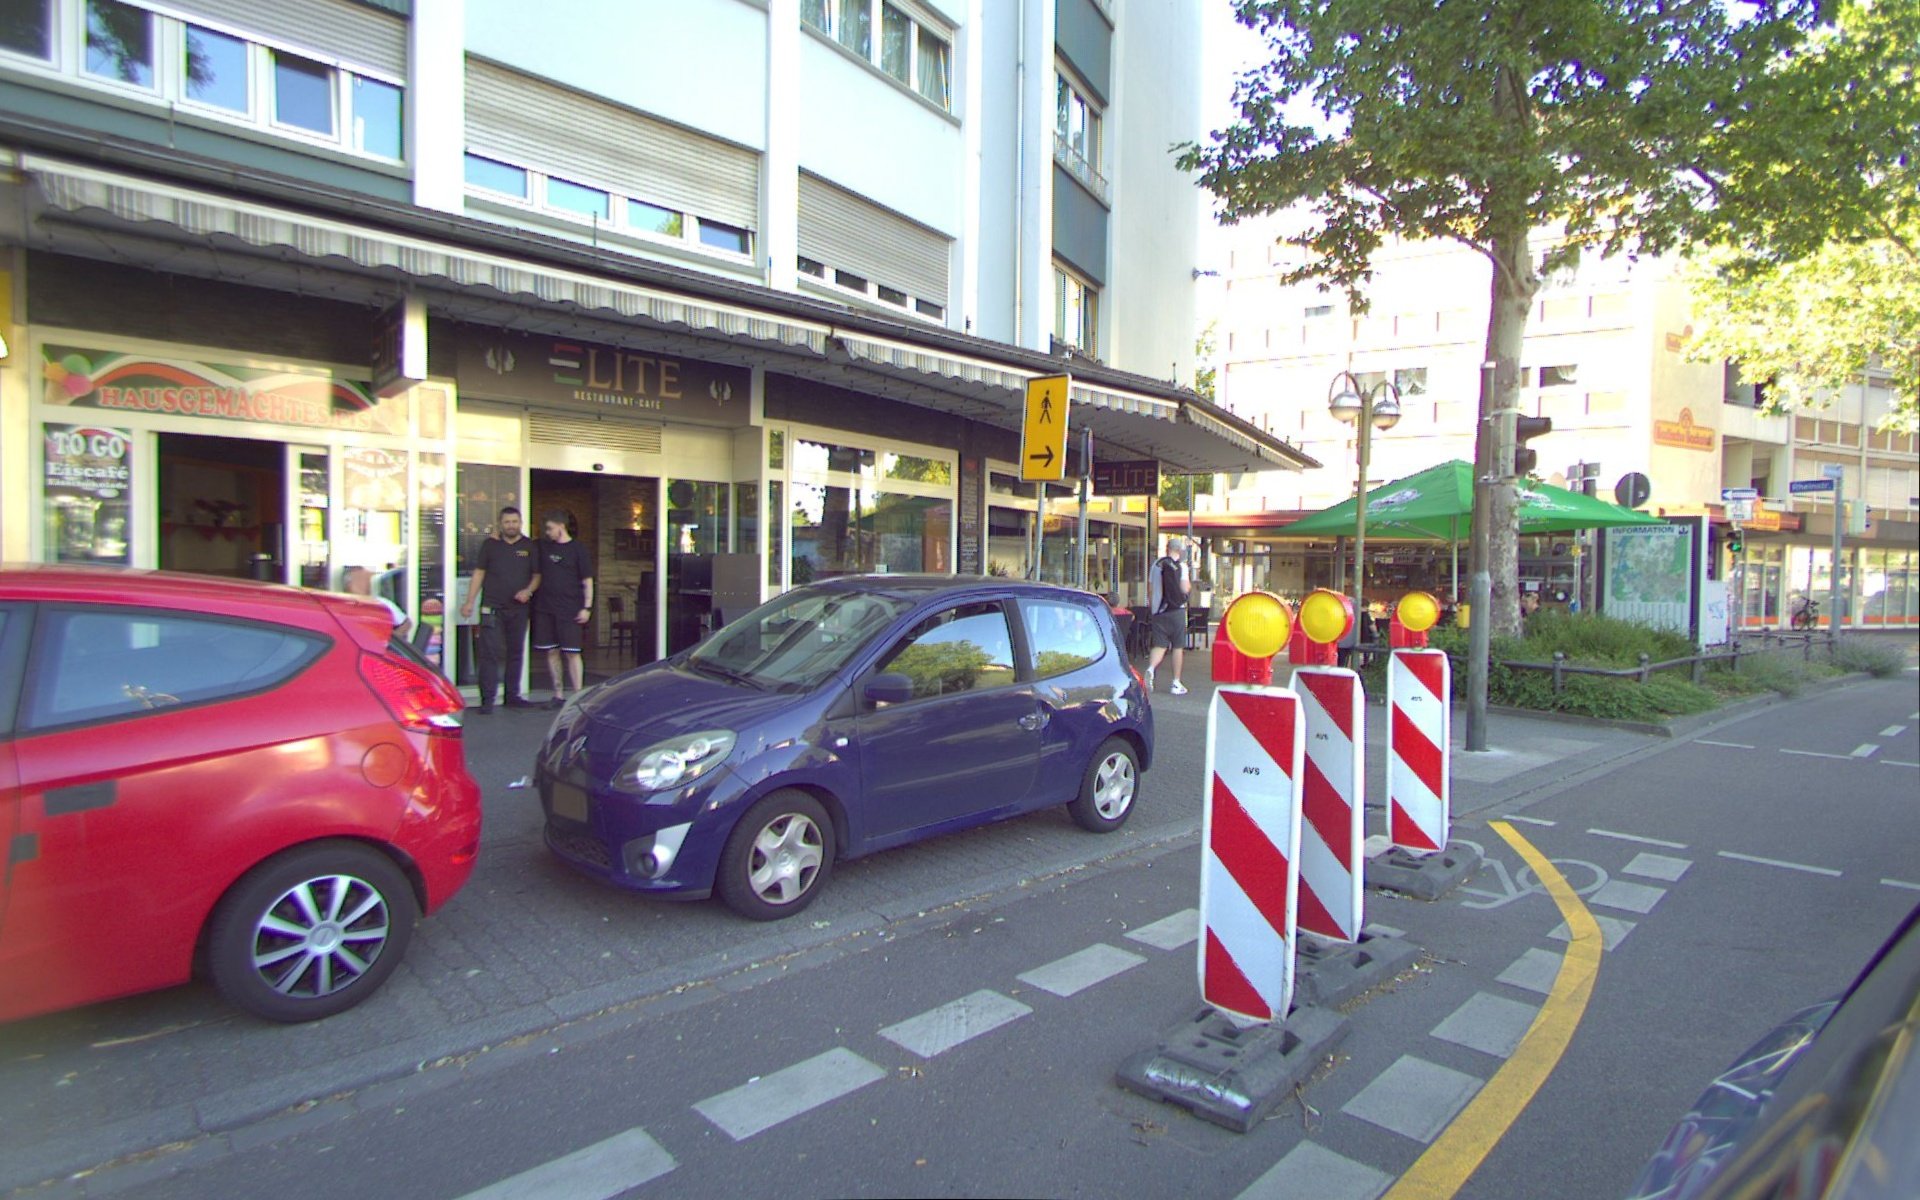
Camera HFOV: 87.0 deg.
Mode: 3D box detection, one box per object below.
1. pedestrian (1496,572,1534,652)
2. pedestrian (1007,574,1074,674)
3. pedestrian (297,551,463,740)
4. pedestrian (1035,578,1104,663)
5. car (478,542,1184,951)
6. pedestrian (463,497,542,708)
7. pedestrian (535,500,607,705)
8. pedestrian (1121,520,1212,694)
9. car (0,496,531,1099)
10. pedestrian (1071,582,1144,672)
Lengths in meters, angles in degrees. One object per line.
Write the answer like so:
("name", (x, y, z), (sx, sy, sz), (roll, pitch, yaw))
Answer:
("pedestrian", (11.780, 0.237, 21.471), (0.624, 1.657, 0.525), (2, 1, 34))
("pedestrian", (1.093, 0.311, 13.817), (0.685, 1.323, 0.793), (1, 1, -13))
("pedestrian", (-4.556, 0.305, 7.941), (0.937, 1.352, 1.069), (0, 2, -42))
("pedestrian", (1.631, 0.287, 15.081), (0.776, 1.207, 0.648), (0, 1, -34))
("car", (-0.538, 0.508, 5.692), (3.551, 1.485, 1.769), (-1, 5, -44))
("pedestrian", (-4.058, 0.008, 8.977), (0.547, 1.800, 0.395), (-1, 4, -43))
("pedestrian", (-3.503, 0.016, 9.126), (0.545, 1.803, 0.397), (1, 3, -11))
("pedestrian", (2.467, 0.070, 12.089), (0.874, 1.983, 0.648), (0, 2, -41))
("car", (-3.529, 0.479, 2.996), (3.761, 1.614, 1.784), (-1, 5, -45))
("pedestrian", (2.062, 0.365, 14.218), (0.685, 1.207, 0.881), (0, 1, -18))
